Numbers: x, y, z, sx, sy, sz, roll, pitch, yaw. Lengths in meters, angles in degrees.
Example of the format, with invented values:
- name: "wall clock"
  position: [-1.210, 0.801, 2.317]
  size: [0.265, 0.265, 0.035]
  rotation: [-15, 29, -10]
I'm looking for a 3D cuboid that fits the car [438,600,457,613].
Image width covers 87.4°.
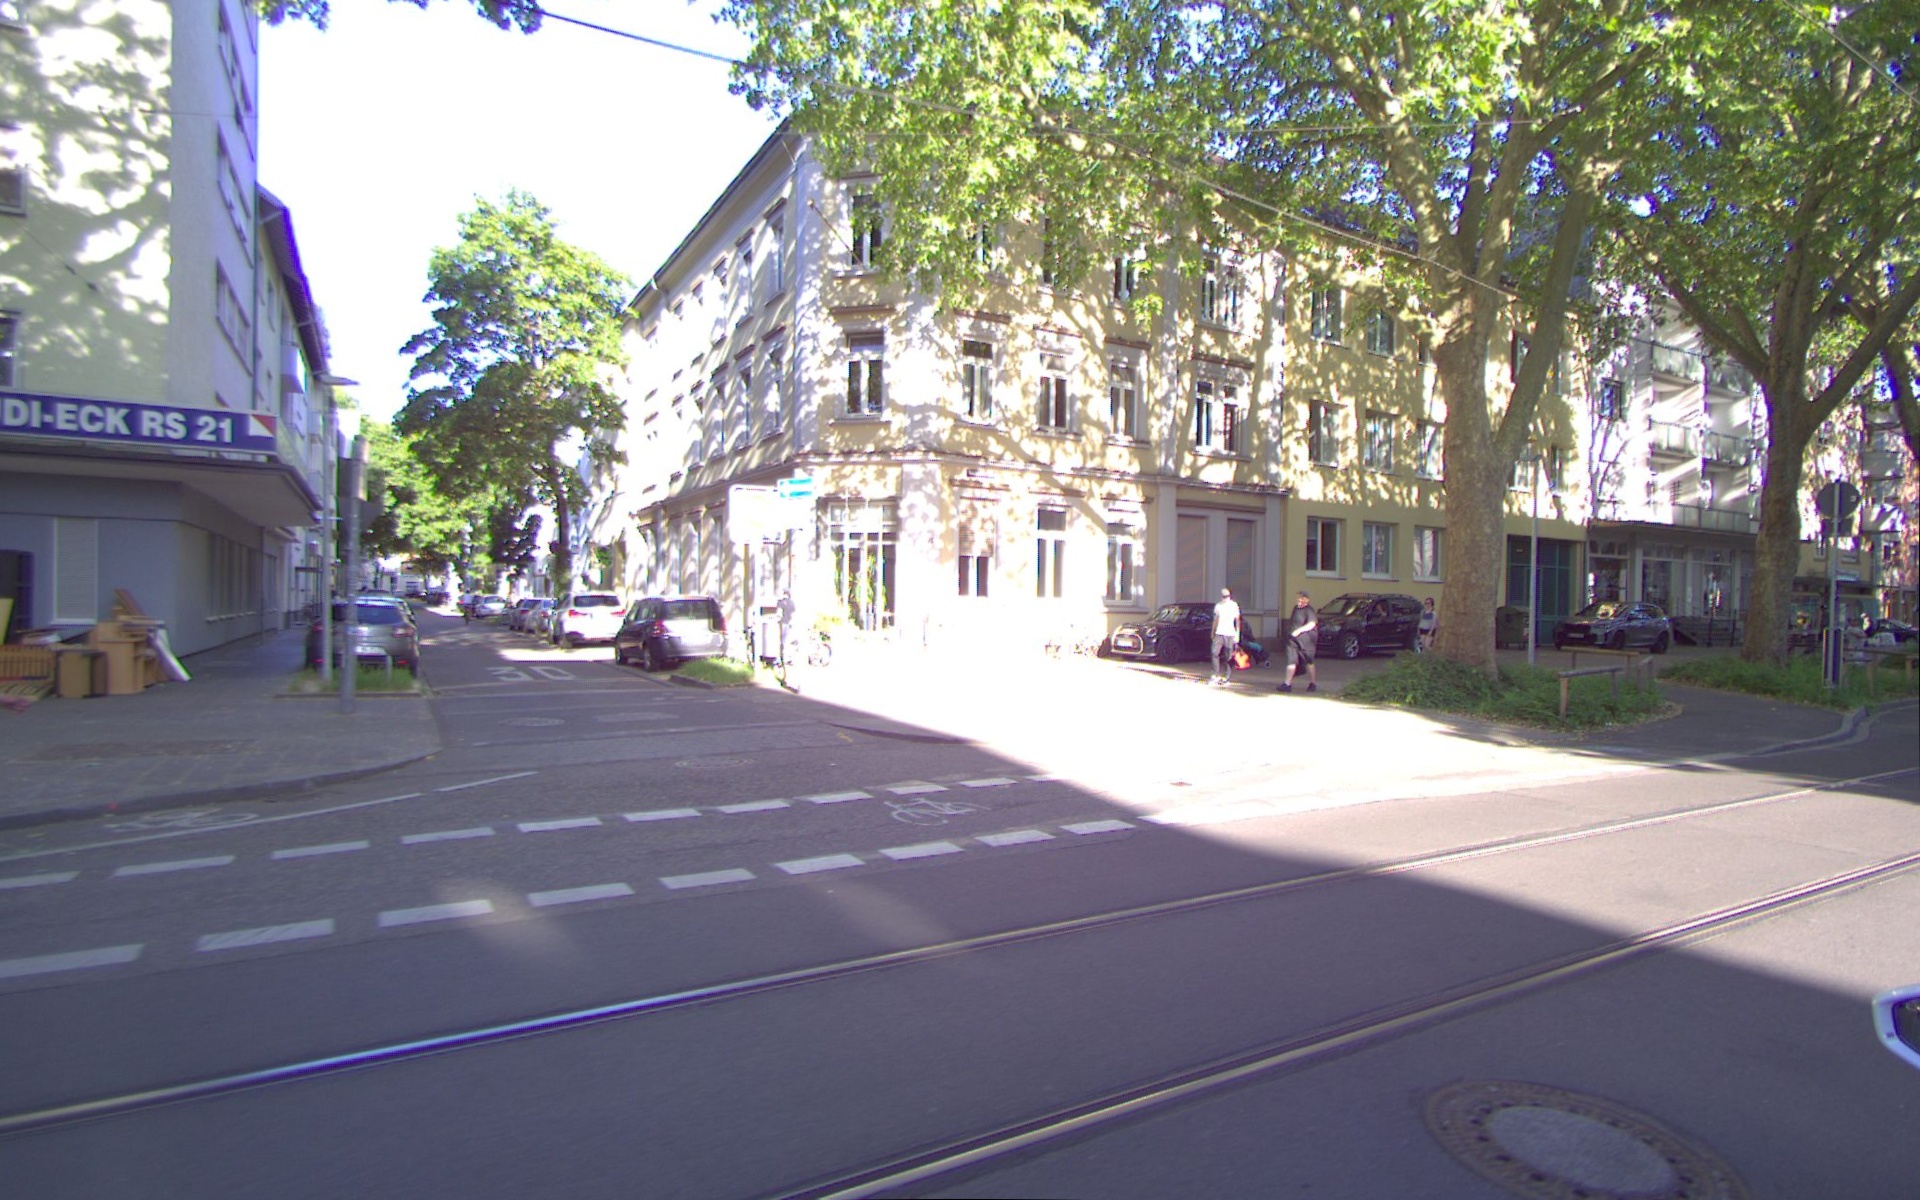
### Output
- name: "car"
  position: [-54.019, 0.685, 105.764]
  size: [1.628, 1.313, 3.388]
  rotation: [1, 0, -30]

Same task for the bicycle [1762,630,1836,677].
- name: "bicycle"
  position: [21.806, 1.384, 26.149]
  size: [0.444, 1.076, 1.696]
  rotation: [2, 1, 0]

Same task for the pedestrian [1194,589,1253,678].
- name: "pedestrian"
  position: [5.017, 0.620, 19.136]
  size: [0.638, 1.654, 0.840]
  rotation: [1, 0, -36]

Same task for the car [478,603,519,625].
- name: "car"
  position: [-23.468, 0.695, 51.012]
  size: [1.628, 1.028, 3.388]
  rotation: [1, 0, -30]

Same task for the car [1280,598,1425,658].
- name: "car"
  position: [11.044, 0.774, 28.207]
  size: [3.953, 1.537, 1.674]
  rotation: [1, 1, -30]

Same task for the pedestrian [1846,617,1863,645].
- name: "pedestrian"
  position: [44.101, 1.512, 49.539]
  size: [0.521, 1.351, 0.504]
  rotation: [1, 0, -33]

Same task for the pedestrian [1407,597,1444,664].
- name: "pedestrian"
  position: [11.818, 0.775, 25.495]
  size: [0.641, 1.674, 0.550]
  rotation: [1, 0, -27]

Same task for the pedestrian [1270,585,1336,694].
- name: "pedestrian"
  position: [6.105, 0.681, 17.897]
  size: [0.638, 1.894, 0.899]
  rotation: [1, 0, -36]

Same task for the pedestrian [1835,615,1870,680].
- name: "pedestrian"
  position: [22.585, 1.189, 25.414]
  size: [0.520, 1.604, 0.504]
  rotation: [1, 0, -30]

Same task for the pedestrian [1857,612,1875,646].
- name: "pedestrian"
  position: [43.899, 1.394, 48.652]
  size: [0.521, 1.604, 0.504]
  rotation: [1, 0, -33]

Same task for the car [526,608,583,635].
- name: "car"
  position: [-16.022, 0.844, 39.605]
  size: [1.617, 0.972, 3.388]
  rotation: [1, 0, -30]

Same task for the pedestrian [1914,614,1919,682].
- name: "pedestrian"
  position: [22.919, 1.145, 23.669]
  size: [0.521, 1.604, 0.503]
  rotation: [1, 0, -34]

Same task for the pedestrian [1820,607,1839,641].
- name: "pedestrian"
  position: [40.821, 1.115, 47.157]
  size: [0.568, 1.604, 0.549]
  rotation: [1, 0, -34]

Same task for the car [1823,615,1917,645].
- name: "car"
  position: [55.628, 1.810, 61.440]
  size: [1.981, 1.728, 3.959]
  rotation: [1, 0, -36]

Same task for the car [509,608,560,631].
- name: "car"
  position: [-18.414, 0.839, 43.383]
  size: [1.628, 0.894, 3.388]
  rotation: [1, 0, -30]

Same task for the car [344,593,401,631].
- name: "car"
  position: [-23.946, 0.461, 40.902]
  size: [1.802, 1.451, 3.963]
  rotation: [1, 0, -33]

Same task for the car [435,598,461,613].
- name: "car"
  position: [-39.582, 0.398, 77.689]
  size: [1.628, 1.109, 3.388]
  rotation: [1, 0, -30]

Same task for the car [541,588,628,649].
- name: "car"
  position: [-11.886, 0.546, 31.670]
  size: [1.864, 1.793, 3.966]
  rotation: [1, 0, -31]

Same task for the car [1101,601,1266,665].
- name: "car"
  position: [5.614, 0.809, 25.176]
  size: [3.953, 1.483, 1.674]
  rotation: [1, 0, -30]

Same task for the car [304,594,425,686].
- name: "car"
  position: [-11.431, 0.683, 19.179]
  size: [1.802, 1.555, 3.963]
  rotation: [1, 0, -33]

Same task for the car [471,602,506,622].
- name: "car"
  position: [-28.250, 0.691, 60.135]
  size: [1.628, 1.109, 3.388]
  rotation: [1, 0, -30]

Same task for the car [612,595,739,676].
- name: "car"
  position: [-6.542, 0.732, 22.867]
  size: [1.975, 1.606, 3.631]
  rotation: [-2, 2, -29]

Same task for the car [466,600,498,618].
- name: "car"
  position: [-31.080, 0.550, 65.253]
  size: [1.628, 1.109, 3.388]
  rotation: [1, 0, -30]

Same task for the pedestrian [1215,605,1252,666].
- name: "pedestrian"
  position: [6.519, 0.838, 23.950]
  size: [0.641, 1.421, 0.550]
  rotation: [1, 0, -27]

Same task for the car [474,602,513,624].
- name: "car"
  position: [-25.327, 0.677, 54.514]
  size: [1.628, 1.109, 3.388]
  rotation: [1, 0, -30]

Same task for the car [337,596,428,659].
- name: "car"
  position: [-14.897, 0.656, 25.808]
  size: [1.802, 1.472, 3.963]
  rotation: [1, 0, -33]

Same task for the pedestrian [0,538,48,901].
- name: "pedestrian"
  position: [-5.107, 0.581, 4.927]
  size: [0.907, 1.758, 0.704]
  rotation: [1, -1, -45]

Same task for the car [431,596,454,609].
- name: "car"
  position: [-46.279, 0.240, 89.772]
  size: [1.628, 1.109, 3.388]
  rotation: [1, 0, -30]

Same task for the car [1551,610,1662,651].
- name: "car"
  position: [22.259, 1.022, 34.558]
  size: [3.783, 1.293, 1.686]
  rotation: [1, 2, -31]
